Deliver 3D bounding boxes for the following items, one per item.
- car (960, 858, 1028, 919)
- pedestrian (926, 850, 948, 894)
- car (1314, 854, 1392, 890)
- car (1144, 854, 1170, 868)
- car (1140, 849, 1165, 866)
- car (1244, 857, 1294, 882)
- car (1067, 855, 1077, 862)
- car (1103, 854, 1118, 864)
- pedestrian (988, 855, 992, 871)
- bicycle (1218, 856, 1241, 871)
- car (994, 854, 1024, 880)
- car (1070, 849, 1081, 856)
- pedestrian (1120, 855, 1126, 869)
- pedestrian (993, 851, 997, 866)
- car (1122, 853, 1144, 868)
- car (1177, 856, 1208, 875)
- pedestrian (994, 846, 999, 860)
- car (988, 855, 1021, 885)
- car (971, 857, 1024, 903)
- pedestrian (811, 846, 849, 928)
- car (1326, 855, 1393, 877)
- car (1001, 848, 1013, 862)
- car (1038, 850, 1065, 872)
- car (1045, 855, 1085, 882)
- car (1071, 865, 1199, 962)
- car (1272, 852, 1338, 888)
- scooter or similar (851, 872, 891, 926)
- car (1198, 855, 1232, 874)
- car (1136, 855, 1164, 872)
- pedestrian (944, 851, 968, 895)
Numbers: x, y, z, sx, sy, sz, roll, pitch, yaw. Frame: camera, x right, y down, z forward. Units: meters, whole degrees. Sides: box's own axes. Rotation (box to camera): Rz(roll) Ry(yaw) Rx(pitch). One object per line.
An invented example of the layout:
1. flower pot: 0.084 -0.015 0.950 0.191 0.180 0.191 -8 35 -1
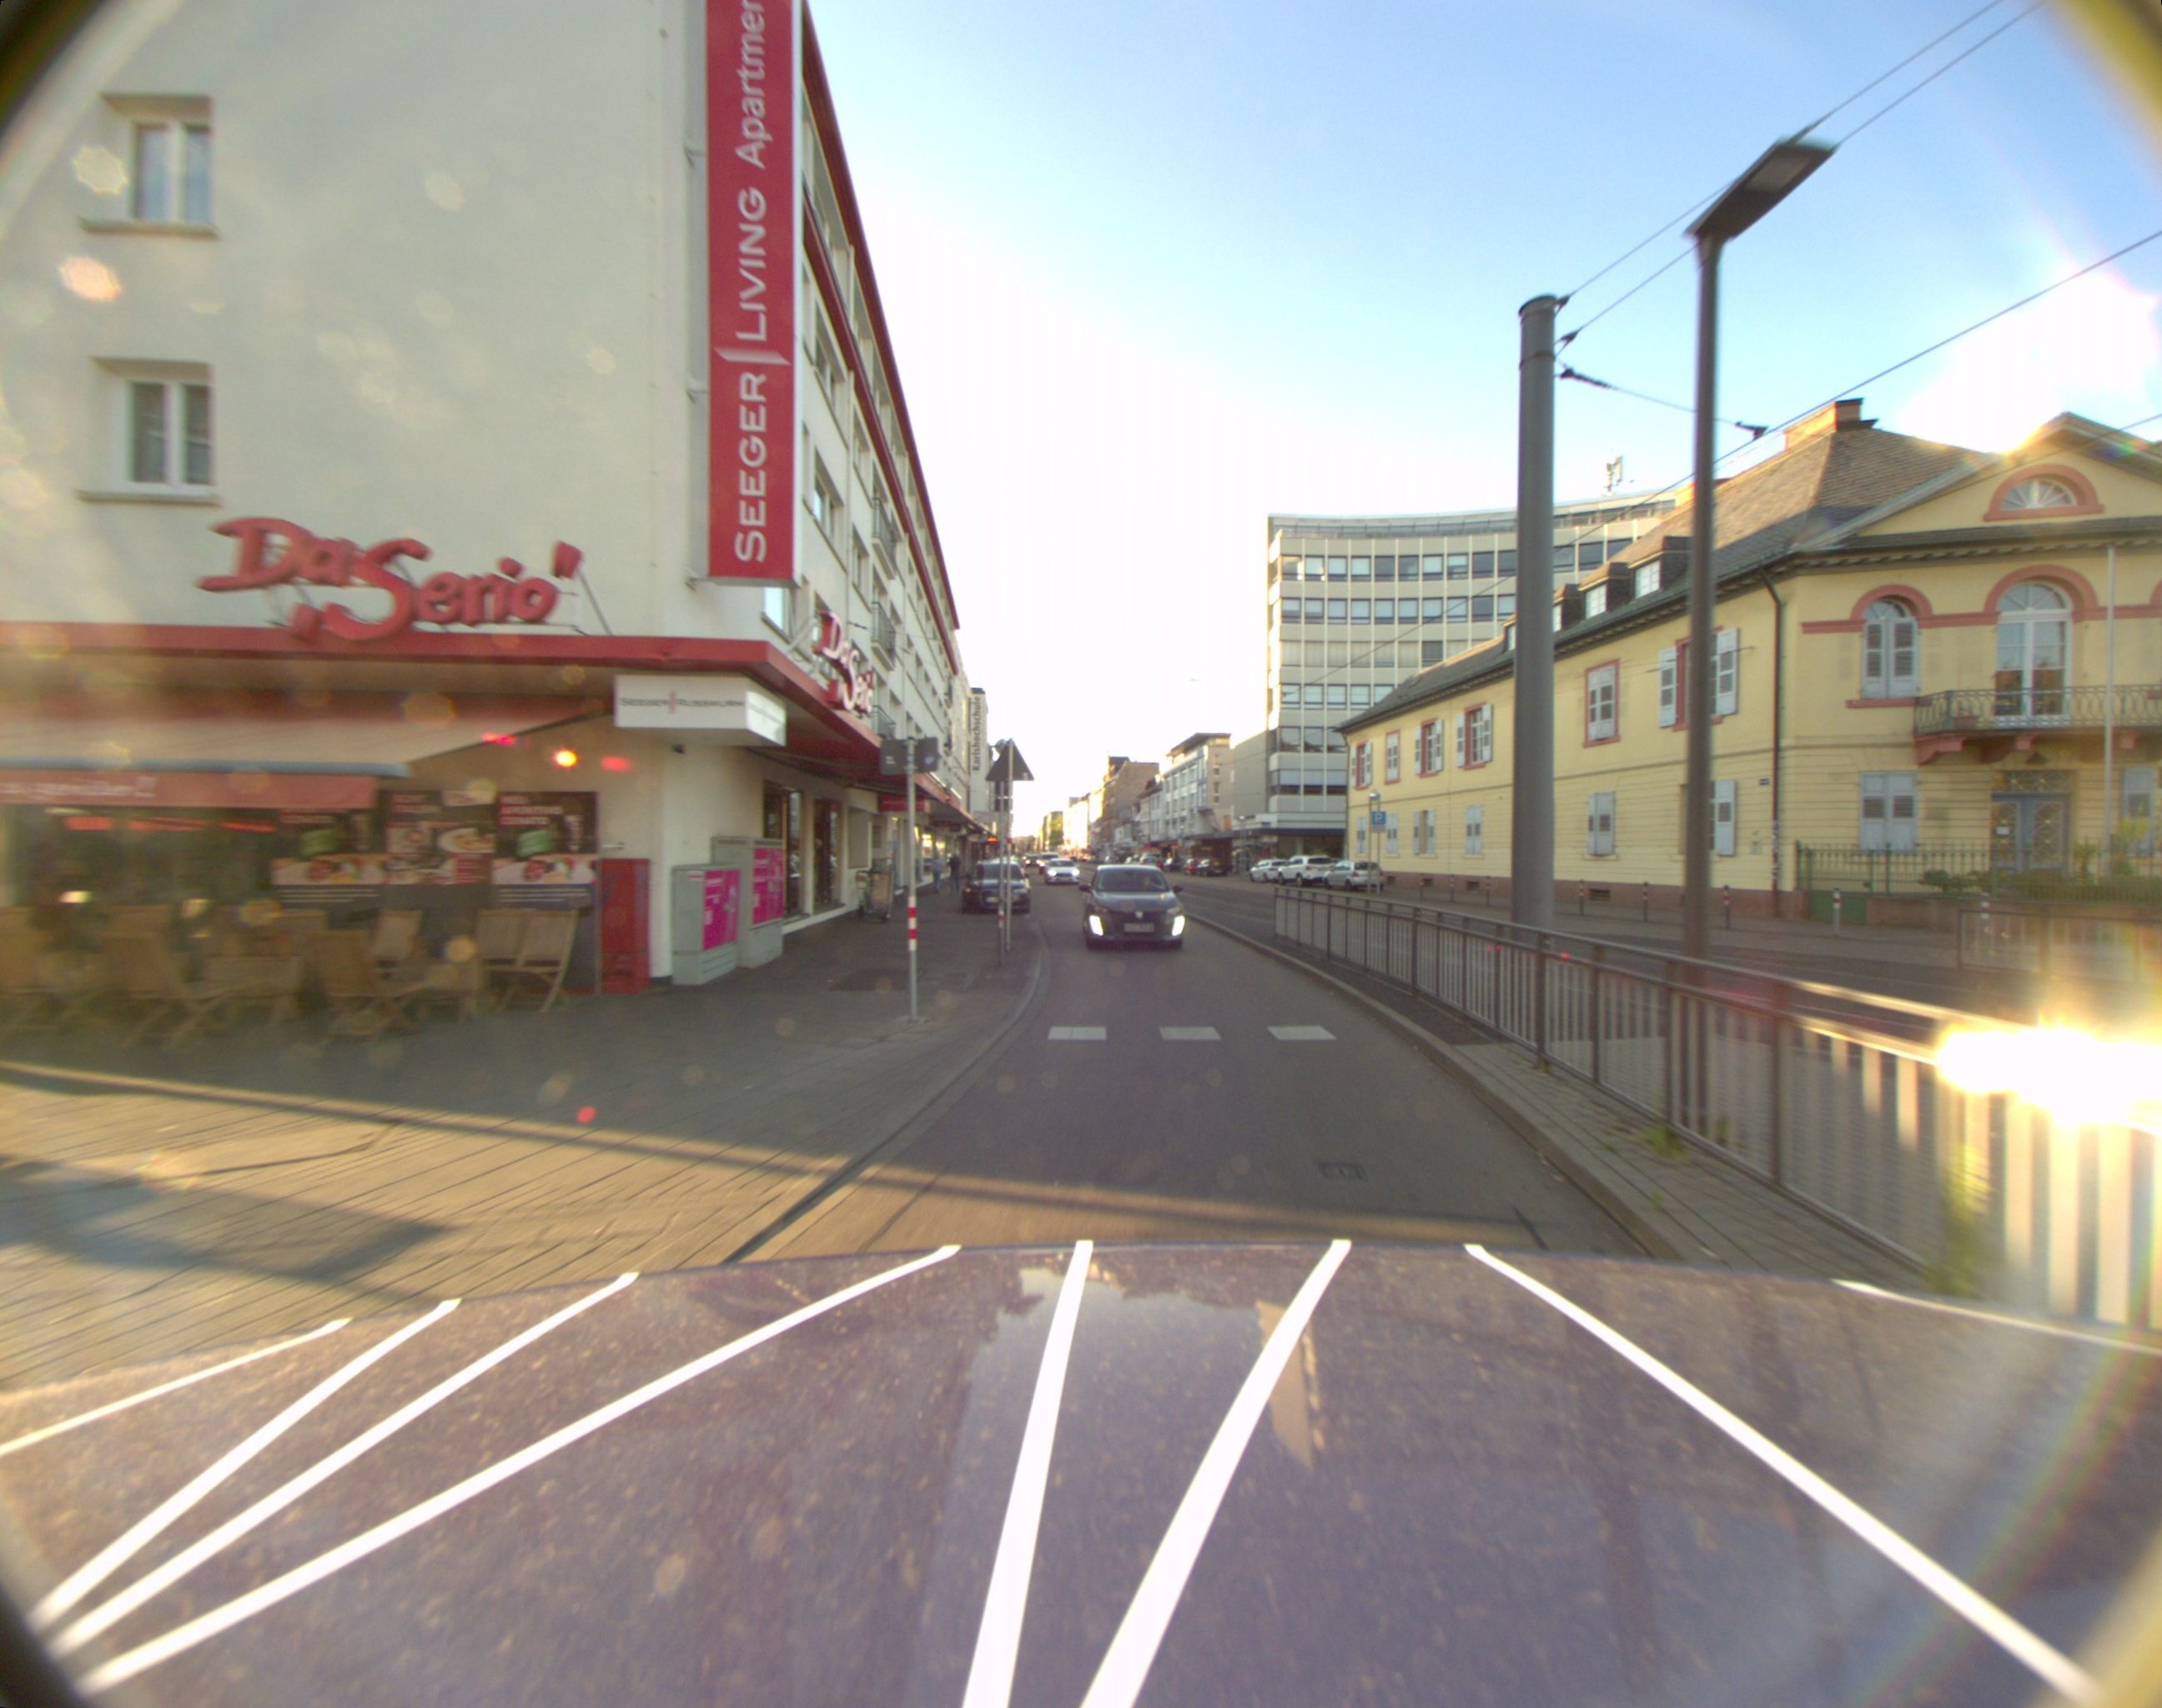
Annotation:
1. car: -2.471 0.922 22.287 1.740 1.503 4.683 2 0 -5
2. pedestrian: -5.809 0.721 30.741 0.730 1.731 0.862 2 1 -5
3. car: 13.045 0.818 36.674 1.818 1.608 4.211 0 0 -8
4. car: 8.299 0.782 83.142 1.999 1.457 4.555 -1 0 -6
5. car: 8.546 0.434 90.748 1.961 1.965 5.159 1 0 -6
6. car: 11.831 0.949 48.097 1.817 1.503 4.430 1 0 -3
7. car: -2.122 0.910 171.872 1.999 1.543 3.998 1 0 -5
8. car: 4.838 0.788 125.029 1.999 1.535 4.876 0 0 -5
9. pedestrian: -11.365 1.122 94.785 0.453 1.888 0.421 1 1 -5
10. bicycle: 13.887 0.901 70.995 1.974 1.417 0.833 1 1 -7
11. car: -4.673 0.806 48.807 1.795 1.503 4.709 2 0 -6
12. car: -1.173 -0.278 163.610 1.999 1.543 3.998 1 0 -5
13. pedestrian: 6.215 1.189 111.951 0.823 2.002 0.713 1 1 10
14. pedestrian: -10.693 0.577 94.029 0.456 1.888 0.421 1 1 -5
15. car: 5.659 0.704 83.347 1.811 1.503 4.033 2 0 -4
16. car: 9.804 0.966 67.018 1.691 1.503 4.213 4 0 -5
17. pedestrian: -12.578 -0.132 112.950 0.712 2.002 0.824 1 1 -6
18. car: -4.227 0.859 42.377 1.740 1.503 4.301 2 0 -5
19. car: -3.046 0.903 28.291 1.790 1.503 4.049 2 0 -5
20. pedestrian: -5.484 0.708 16.579 0.525 1.750 0.605 1 1 41
21. car: 19.502 0.833 53.336 3.998 1.458 1.845 1 0 -3
22. car: -12.760 0.118 131.177 2.047 2.371 5.581 1 0 -6
23. car: -2.580 0.554 65.490 2.000 1.805 3.997 0 0 -7
24. car: -0.953 0.798 43.128 1.999 1.450 3.998 1 0 -6
25. car: 0.878 1.008 14.762 1.733 1.513 4.331 -1 0 -6
26. car: 12.208 0.822 41.795 1.818 1.775 4.494 -2 1 -7
27. scooter or similar: -4.856 1.018 17.551 0.357 1.195 1.245 0 1 -43
28. car: 10.867 0.837 61.933 1.691 1.503 4.213 0 0 -5
29. car: 6.411 0.888 70.898 1.741 1.503 4.031 1 0 -9
30. pedestrian: -4.986 0.754 30.309 0.829 1.708 0.842 2 1 -5
